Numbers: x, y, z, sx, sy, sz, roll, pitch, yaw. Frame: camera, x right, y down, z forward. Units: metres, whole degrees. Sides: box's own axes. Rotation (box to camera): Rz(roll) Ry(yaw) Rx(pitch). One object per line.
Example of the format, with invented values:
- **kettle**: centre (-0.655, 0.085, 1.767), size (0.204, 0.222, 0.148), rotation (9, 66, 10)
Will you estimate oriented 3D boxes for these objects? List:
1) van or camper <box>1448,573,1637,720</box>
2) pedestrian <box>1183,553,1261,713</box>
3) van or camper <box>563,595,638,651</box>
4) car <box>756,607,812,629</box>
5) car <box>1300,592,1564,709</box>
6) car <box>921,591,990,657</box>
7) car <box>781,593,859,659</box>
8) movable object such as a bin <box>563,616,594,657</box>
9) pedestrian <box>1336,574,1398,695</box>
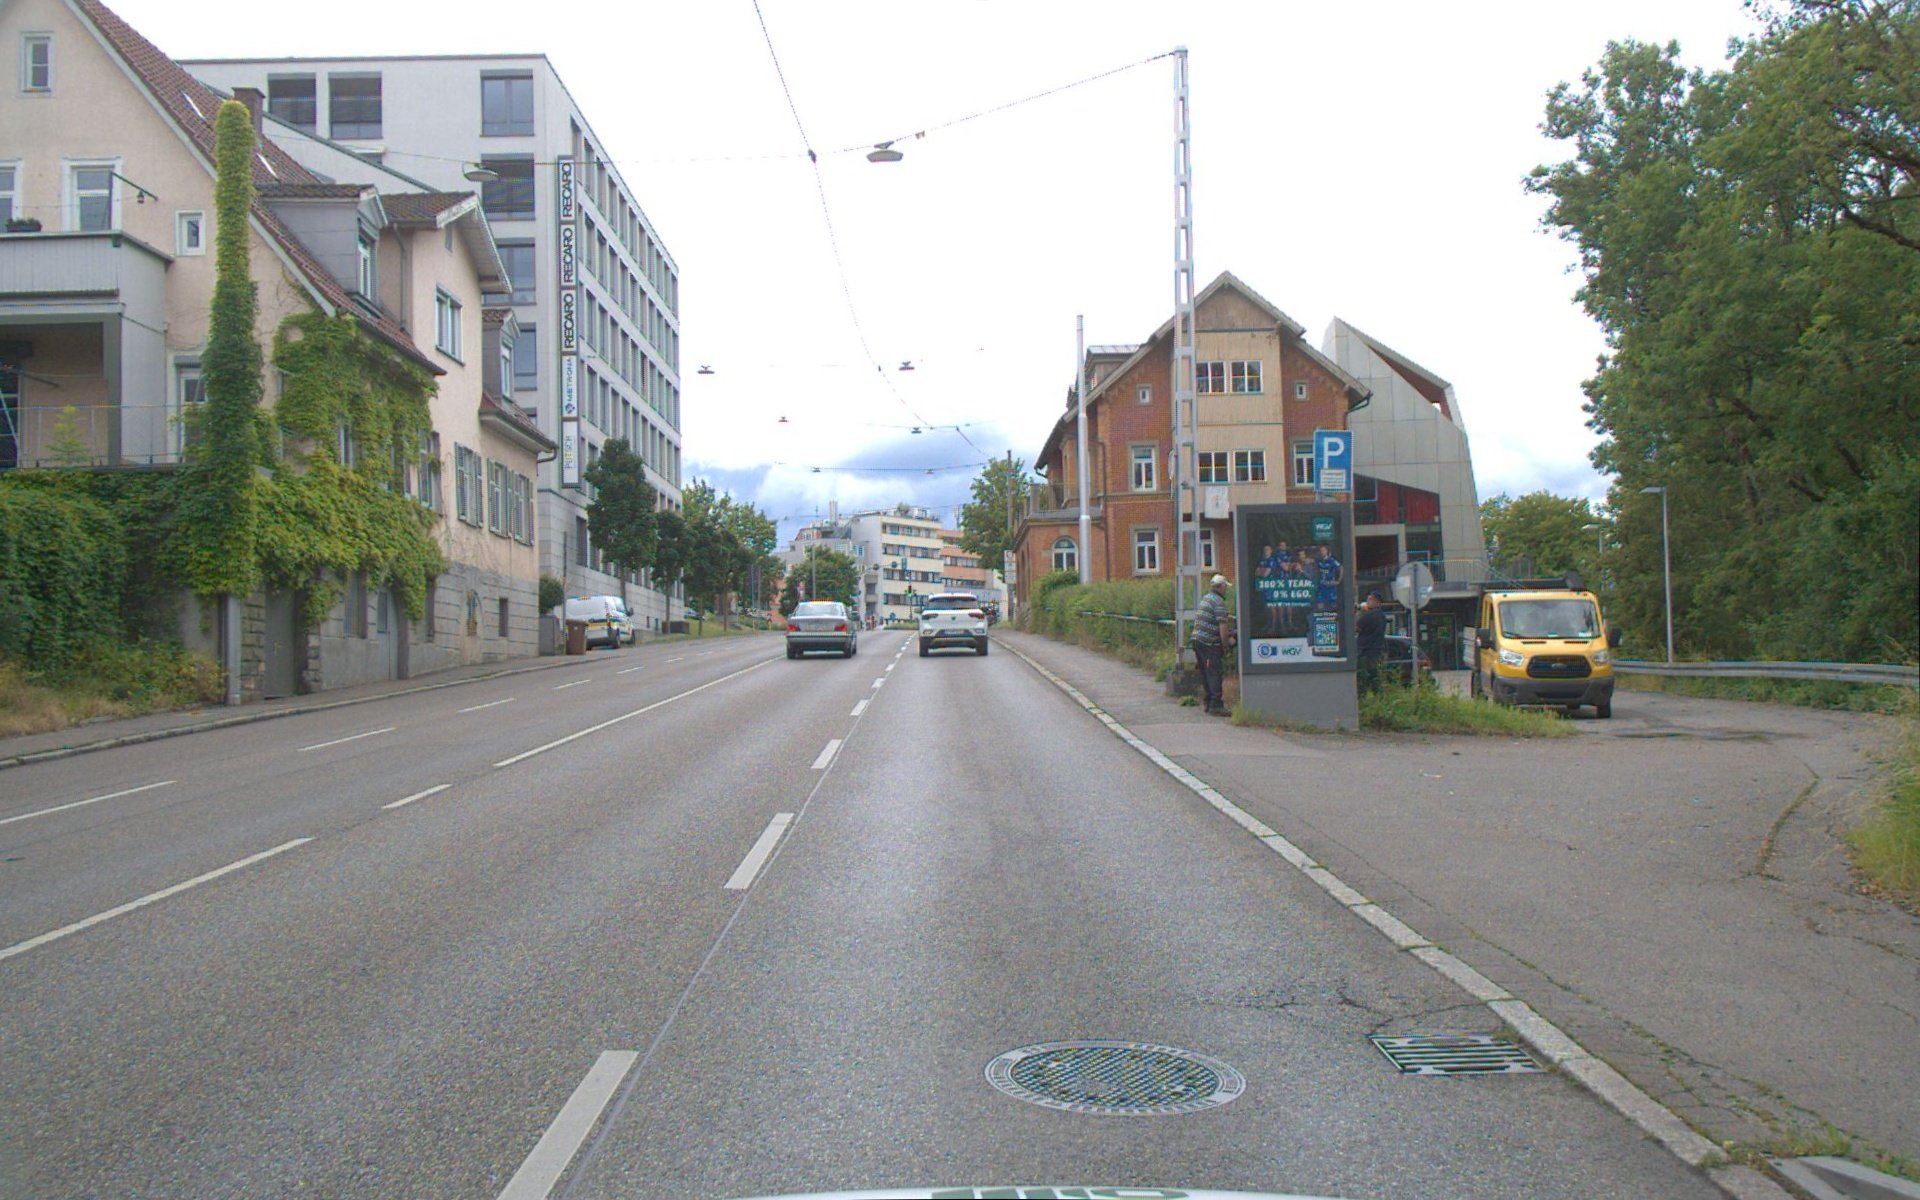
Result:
- **van or camper**: centre (10.615, 0.745, 30.659), size (2.169, 2.370, 6.185), rotation (-2, 0, 10)
- **pedestrian**: centre (3.253, 0.403, 20.588), size (0.795, 1.917, 0.949), rotation (-2, 0, 3)
- **van or camper**: centre (-13.754, 0.851, 63.521), size (2.019, 2.002, 4.869), rotation (-2, 0, -3)
- **car**: centre (-13.258, 1.345, 124.713), size (1.751, 1.571, 3.974), rotation (-2, -2, 43)
- **car**: centre (6.880, 0.712, 24.337), size (3.415, 1.568, 1.577), rotation (2, 0, 0)
- **car**: centre (-0.130, 0.581, 42.738), size (1.665, 1.575, 3.735), rotation (2, 0, -1)
- **car**: centre (-3.480, 0.628, 41.702), size (1.665, 1.542, 3.735), rotation (-1, 0, -1)
- **movable object such as a bin**: centre (-11.637, 1.108, 50.519), size (0.794, 1.210, 0.697), rotation (2, -1, -7)
- **pedestrian**: centre (5.549, 0.461, 22.579), size (0.632, 1.599, 0.585), rotation (-2, 0, -1)
